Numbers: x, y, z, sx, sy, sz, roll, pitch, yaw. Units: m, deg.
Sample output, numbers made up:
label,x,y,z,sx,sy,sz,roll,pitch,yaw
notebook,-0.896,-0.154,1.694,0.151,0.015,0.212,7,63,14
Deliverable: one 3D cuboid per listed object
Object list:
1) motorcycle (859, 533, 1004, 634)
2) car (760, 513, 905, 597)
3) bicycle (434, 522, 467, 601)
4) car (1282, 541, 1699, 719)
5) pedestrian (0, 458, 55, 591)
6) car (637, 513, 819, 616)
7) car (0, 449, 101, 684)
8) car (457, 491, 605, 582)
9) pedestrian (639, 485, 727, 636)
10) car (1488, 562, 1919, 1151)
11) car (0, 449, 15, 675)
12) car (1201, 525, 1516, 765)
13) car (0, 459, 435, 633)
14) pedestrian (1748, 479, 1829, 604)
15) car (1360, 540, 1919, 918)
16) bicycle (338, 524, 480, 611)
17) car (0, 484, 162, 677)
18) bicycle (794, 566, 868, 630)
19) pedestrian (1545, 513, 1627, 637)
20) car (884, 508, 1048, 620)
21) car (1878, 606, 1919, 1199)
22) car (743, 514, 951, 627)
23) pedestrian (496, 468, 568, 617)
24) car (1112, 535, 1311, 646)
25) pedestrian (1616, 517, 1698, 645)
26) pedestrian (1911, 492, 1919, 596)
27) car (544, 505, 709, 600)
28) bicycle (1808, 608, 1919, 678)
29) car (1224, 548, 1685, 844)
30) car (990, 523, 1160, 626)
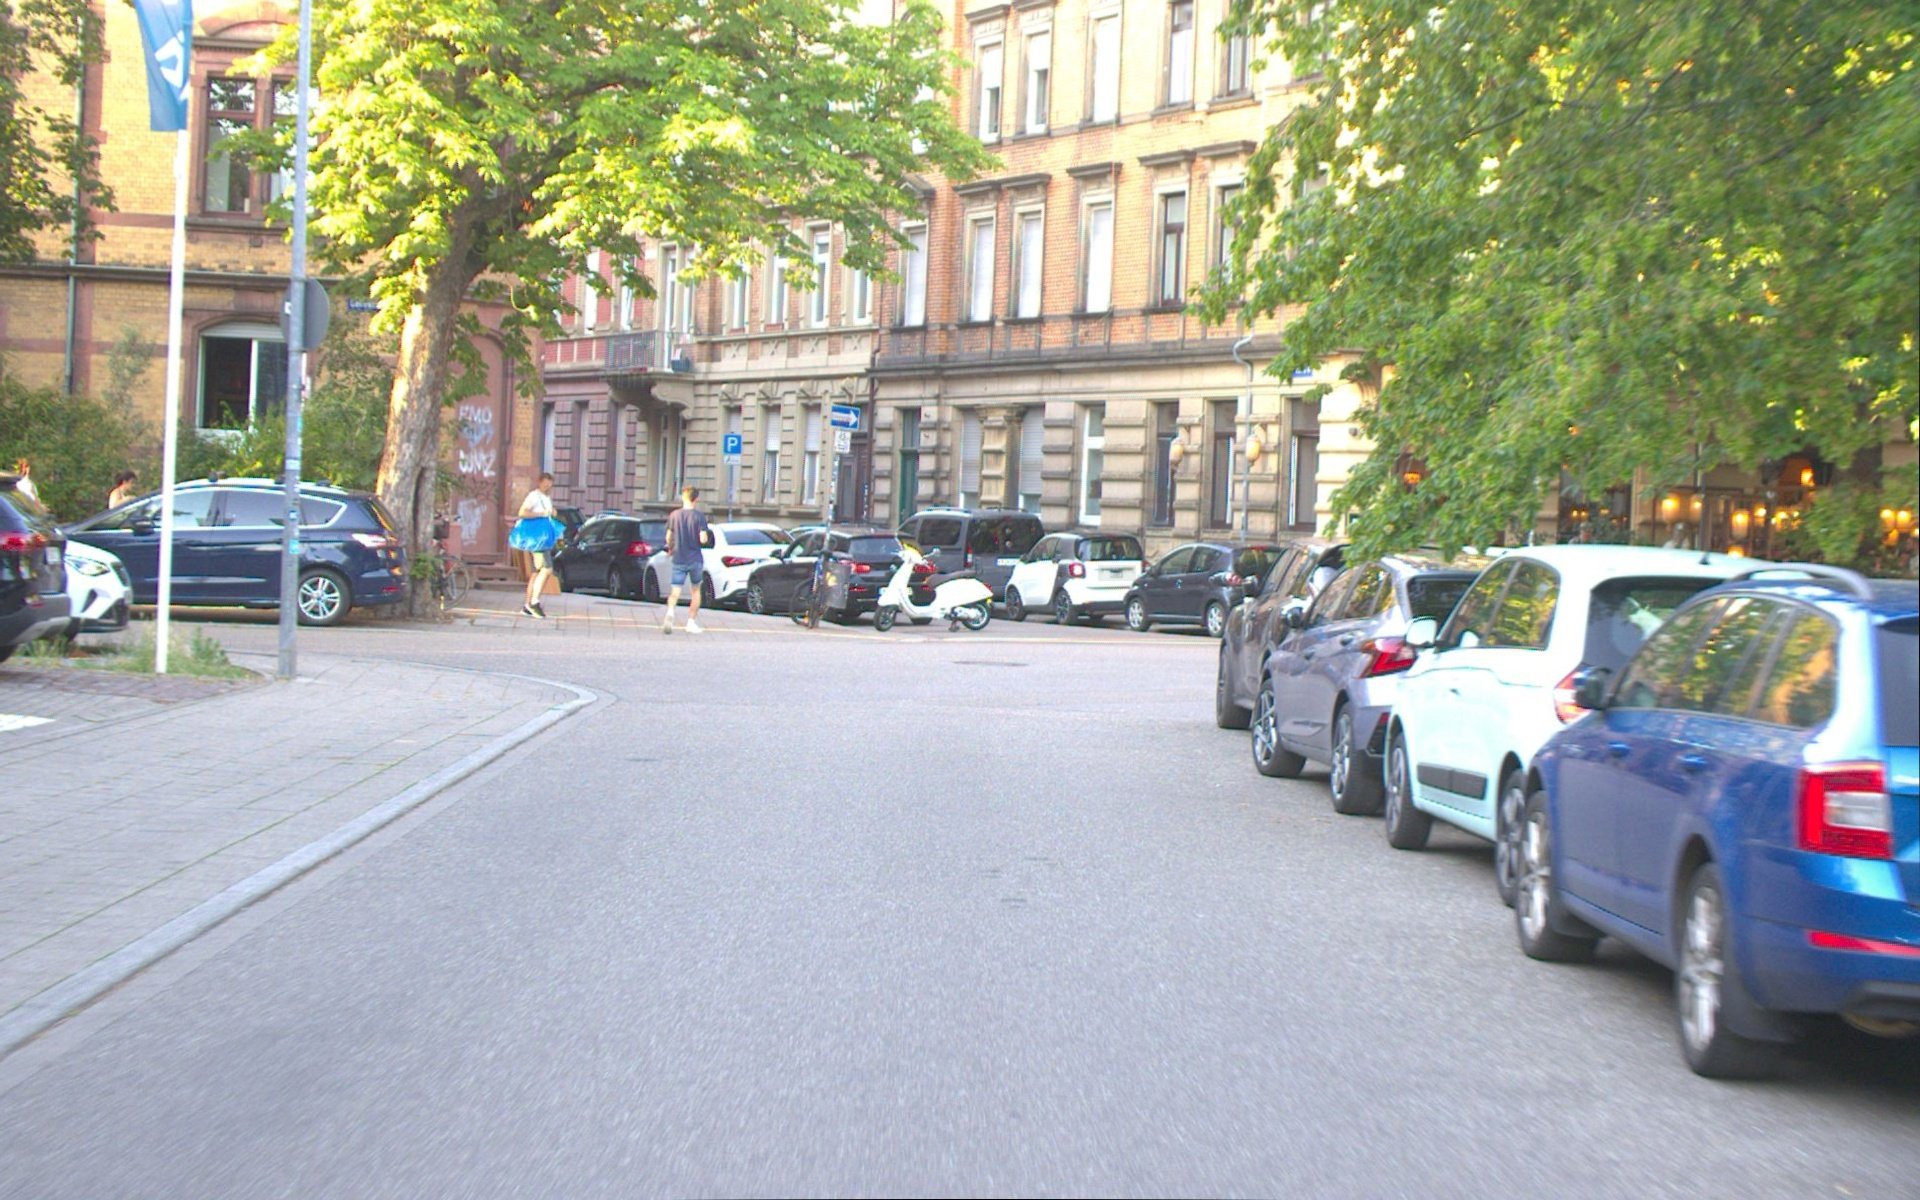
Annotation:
label,x,y,z,sx,sy,sz,roll,pitch,yaw
motorcycle,-0.404,-0.240,48.605,1.931,1.336,0.577,2,2,-11
car,-2.457,-0.874,65.724,1.674,1.426,3.016,2,2,-25
bicycle,-7.056,-0.540,47.609,0.319,1.024,1.678,2,2,-5
car,5.014,0.276,32.181,1.880,1.461,3.961,5,3,43
pedestrian,-11.612,-0.944,42.833,0.542,1.629,0.448,2,2,-5
car,-3.851,-0.605,56.469,1.654,1.426,4.168,2,2,-23
car,-8.426,-0.339,24.679,4.066,1.612,1.766,2,2,-2
car,-8.267,-1.241,66.037,1.654,1.519,3.897,2,2,-25
pedestrian,-3.430,-0.495,42.475,0.735,1.798,1.122,2,2,-21
car,2.907,0.668,10.963,1.695,1.471,4.117,2,1,-1
car,-8.295,-0.300,21.602,4.129,1.612,1.913,4,2,-3
car,2.847,0.266,25.356,1.695,1.565,3.972,2,1,-2
car,-8.702,-0.656,40.483,4.828,1.726,1.921,3,2,-7
pedestrian,12.200,-0.870,50.635,0.773,1.797,0.843,1,2,-15
car,3.058,0.505,15.909,1.695,1.471,3.560,2,1,-4
bicycle,-6.912,-0.403,43.130,1.671,1.024,0.446,1,2,-24
car,-8.980,-0.288,29.006,4.044,1.470,1.921,4,2,-4
bicycle,-1.736,-0.033,46.488,0.425,0.819,1.460,3,2,21
pedestrian,9.329,-0.372,51.218,0.840,1.798,0.776,2,2,-21
car,0.082,-0.645,60.433,1.674,1.776,3.016,2,2,-25
car,3.071,0.821,6.415,1.596,1.471,3.774,2,1,-1
car,-1.751,-0.467,51.847,1.654,1.426,3.991,2,2,-24
pedestrian,-5.466,-0.743,43.954,0.815,1.846,0.803,2,2,-5
car,3.877,-0.164,53.470,1.674,1.520,3.245,1,2,-25
pedestrian,10.033,-0.278,49.485,0.773,1.798,0.843,2,2,-15
pedestrian,14.075,-0.779,48.793,0.773,1.476,0.762,2,2,-12
car,-5.925,-0.860,60.739,1.654,1.426,3.897,2,2,-25
bicycle,12.503,0.591,46.578,1.967,0.882,0.401,2,2,-14
car,2.785,0.481,20.323,1.695,1.471,4.213,2,1,-5
car,1.880,-0.429,56.988,1.674,1.520,2.768,2,2,-25
